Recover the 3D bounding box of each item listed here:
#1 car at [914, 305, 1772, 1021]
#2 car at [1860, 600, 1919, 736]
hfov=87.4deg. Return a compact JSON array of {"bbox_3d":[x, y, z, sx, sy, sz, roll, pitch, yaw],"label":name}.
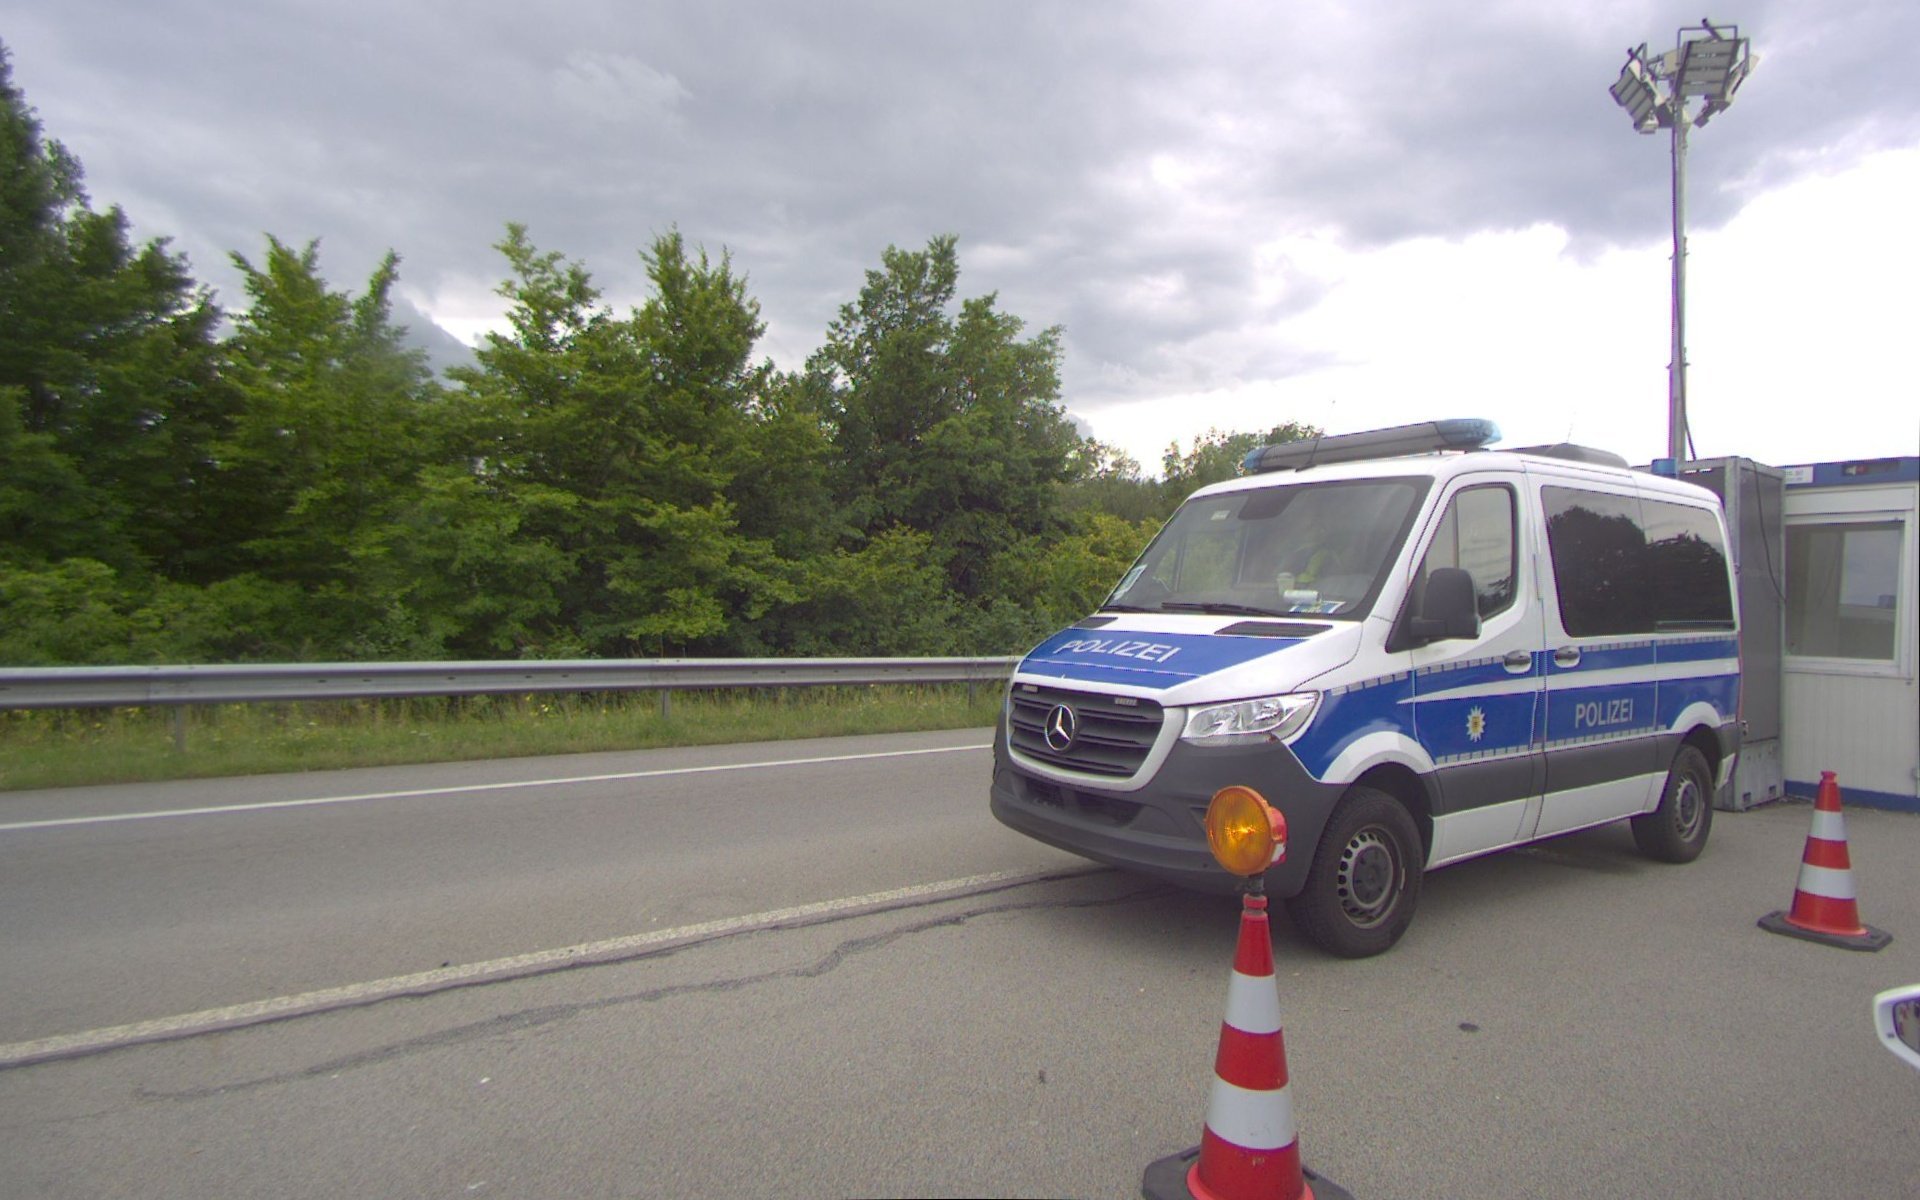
[{"bbox_3d":[2.496,0.264,5.826,5.225,2.496,2.016,1,0,-34],"label":"car"},{"bbox_3d":[14.276,0.928,13.886,3.968,1.767,1.857,1,0,-35],"label":"car"}]
